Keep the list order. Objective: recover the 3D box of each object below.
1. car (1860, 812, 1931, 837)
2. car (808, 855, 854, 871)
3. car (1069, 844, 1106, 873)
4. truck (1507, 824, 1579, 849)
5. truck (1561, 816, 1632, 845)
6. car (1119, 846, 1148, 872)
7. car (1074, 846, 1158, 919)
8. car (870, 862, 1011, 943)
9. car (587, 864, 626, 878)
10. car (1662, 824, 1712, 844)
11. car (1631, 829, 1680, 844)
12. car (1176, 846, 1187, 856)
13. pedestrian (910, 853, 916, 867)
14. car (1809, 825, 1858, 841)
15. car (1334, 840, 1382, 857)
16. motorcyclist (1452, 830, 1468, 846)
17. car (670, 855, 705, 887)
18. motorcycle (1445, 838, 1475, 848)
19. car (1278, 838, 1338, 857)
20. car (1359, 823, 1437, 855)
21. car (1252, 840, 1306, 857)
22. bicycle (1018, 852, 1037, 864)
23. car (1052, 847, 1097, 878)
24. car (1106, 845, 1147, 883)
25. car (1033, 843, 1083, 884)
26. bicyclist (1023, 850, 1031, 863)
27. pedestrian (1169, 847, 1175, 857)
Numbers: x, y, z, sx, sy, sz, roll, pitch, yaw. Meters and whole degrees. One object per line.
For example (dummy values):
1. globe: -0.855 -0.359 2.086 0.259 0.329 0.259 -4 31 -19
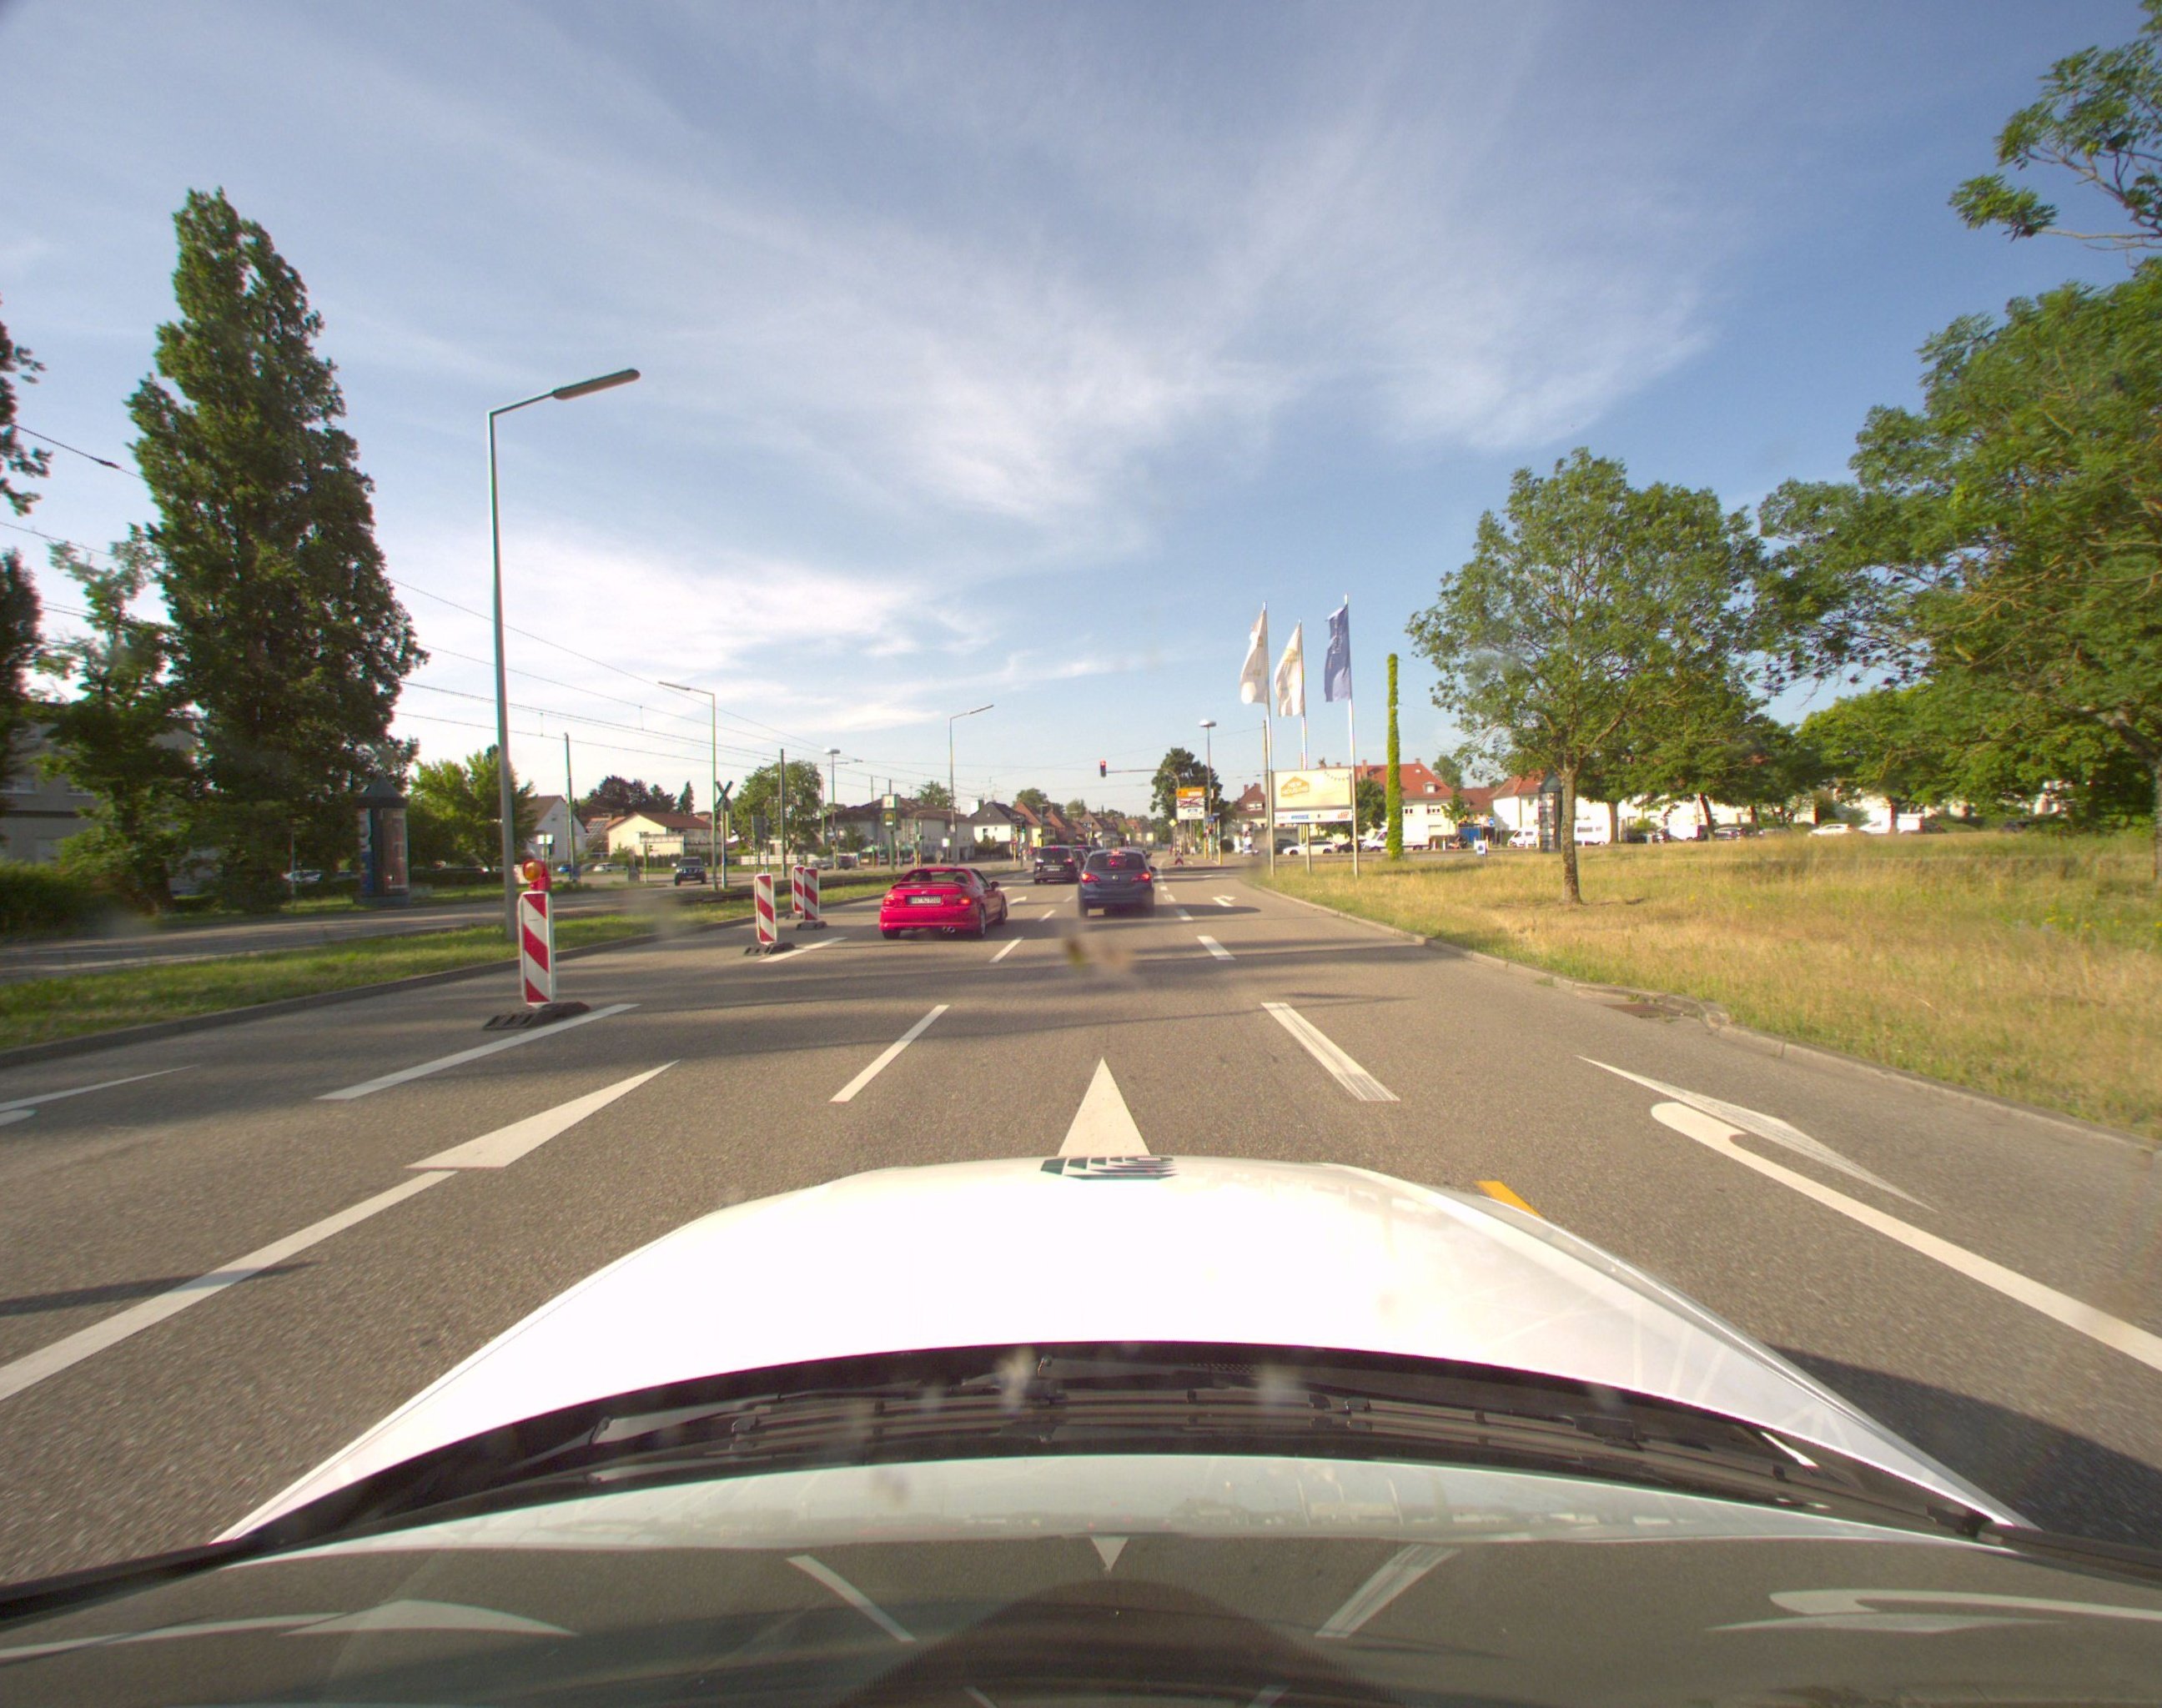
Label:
1. car: 83.834 -3.018 83.886 2.010 2.232 4.921 -2 0 -39
2. car: -25.677 0.909 83.563 3.964 1.486 2.005 -2 0 8
3. car: 0.445 0.223 50.525 1.497 1.651 4.756 -2 0 9
4. truck: 48.793 -1.822 86.194 2.283 2.524 6.299 -2 1 -28
5. truck: 54.538 -2.446 86.326 1.906 2.854 6.008 -2 0 -40
6. car: 3.232 0.283 49.490 1.649 1.443 4.019 -2 0 4
7. car: 0.771 0.583 19.382 1.736 1.505 4.223 -2 1 1
8. car: -2.434 0.799 15.076 1.724 1.206 3.850 -1 1 3
9. car: -60.445 2.136 103.779 1.980 1.684 4.235 0 0 13
10. car: 63.975 -2.146 86.054 1.906 1.920 3.864 -2 0 -39
11. car: 60.747 -1.867 86.130 1.907 1.456 3.862 -2 0 -43
12. car: 15.103 -0.453 122.693 1.666 1.398 4.008 0 0 7
13. pedestrian: -19.220 0.652 93.042 0.509 1.599 0.540 -2 0 3
14. car: 77.726 -2.156 84.137 1.904 1.513 3.395 -2 0 -35
15. car: 26.039 -0.546 76.644 3.965 1.453 1.719 -2 0 7
16. motorcyclist: 33.271 -1.398 71.527 1.060 1.352 0.681 -2 0 5
17. car: -27.181 1.136 56.294 2.004 2.013 5.313 -2 0 -25
18. motorcycle: 33.283 -0.963 71.529 2.260 0.866 0.692 -2 0 5
19. car: 20.478 -0.585 73.621 5.067 1.563 1.844 -2 0 7
20. car: 28.317 -1.334 72.883 6.175 2.583 2.004 -2 0 6
21. car: 18.760 -0.495 77.339 4.798 1.411 1.719 -2 0 7
22. bicycle: -5.998 0.415 91.597 2.069 1.348 1.107 0 -1 -3
23. car: -0.281 0.409 42.842 1.690 1.508 4.563 -1 0 7
24. car: 2.042 0.405 36.059 1.699 1.551 3.982 -2 0 4
25. car: -0.934 0.381 35.584 1.756 1.670 4.088 -1 0 4
26. bicyclist: -6.097 0.261 91.608 0.882 1.431 1.136 0 -1 -3
27. pedestrian: 13.162 -0.277 117.764 0.748 1.499 0.829 0 -1 10
